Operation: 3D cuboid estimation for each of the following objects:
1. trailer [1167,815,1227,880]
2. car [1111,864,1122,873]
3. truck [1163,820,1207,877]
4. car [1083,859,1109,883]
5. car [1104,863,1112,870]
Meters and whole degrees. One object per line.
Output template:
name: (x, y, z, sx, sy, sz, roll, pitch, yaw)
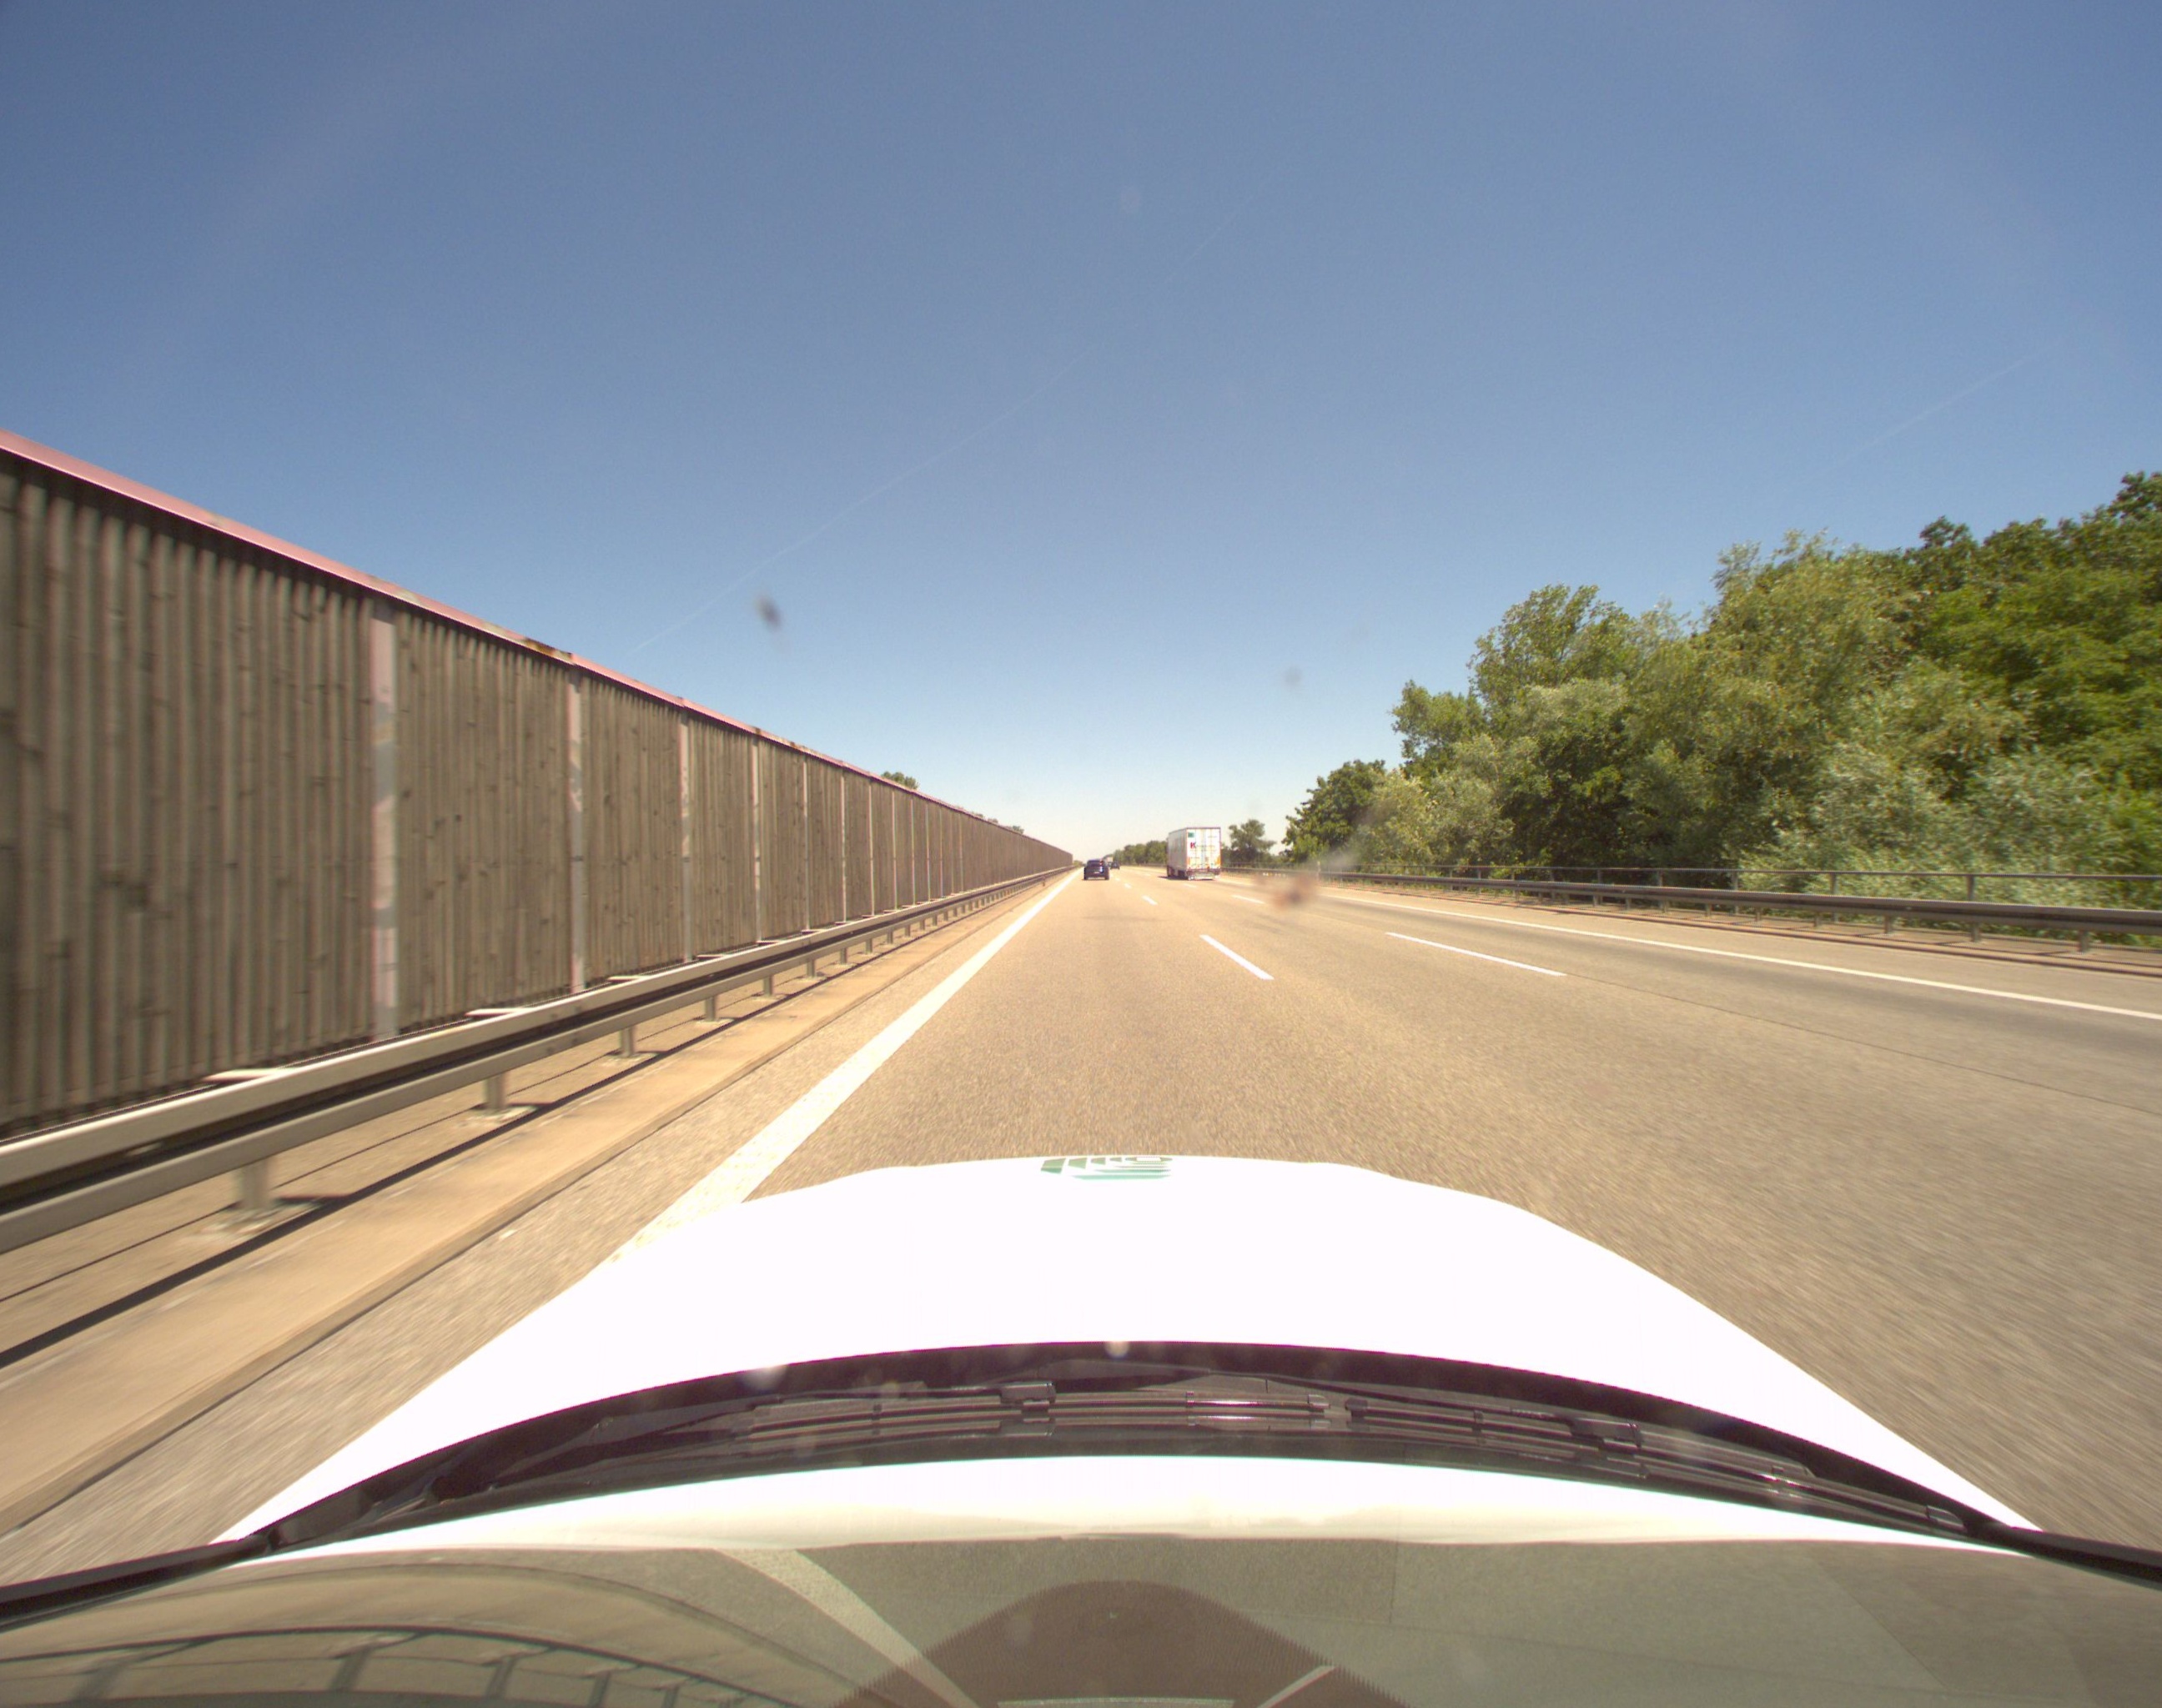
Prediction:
trailer: (9.312, -0.435, 67.250, 3.258, 4.837, 14.031, 0, 0, 1)
car: (6.393, 2.721, 148.261, 1.896, 1.584, 4.304, -2, -1, 1)
truck: (9.403, -0.432, 74.179, 3.223, 4.889, 6.973, 0, -1, 1)
car: (1.168, 1.308, 64.976, 1.874, 1.792, 3.998, -1, 0, -1)
car: (6.660, 3.024, 199.013, 1.896, 1.584, 4.304, -2, -1, 1)
